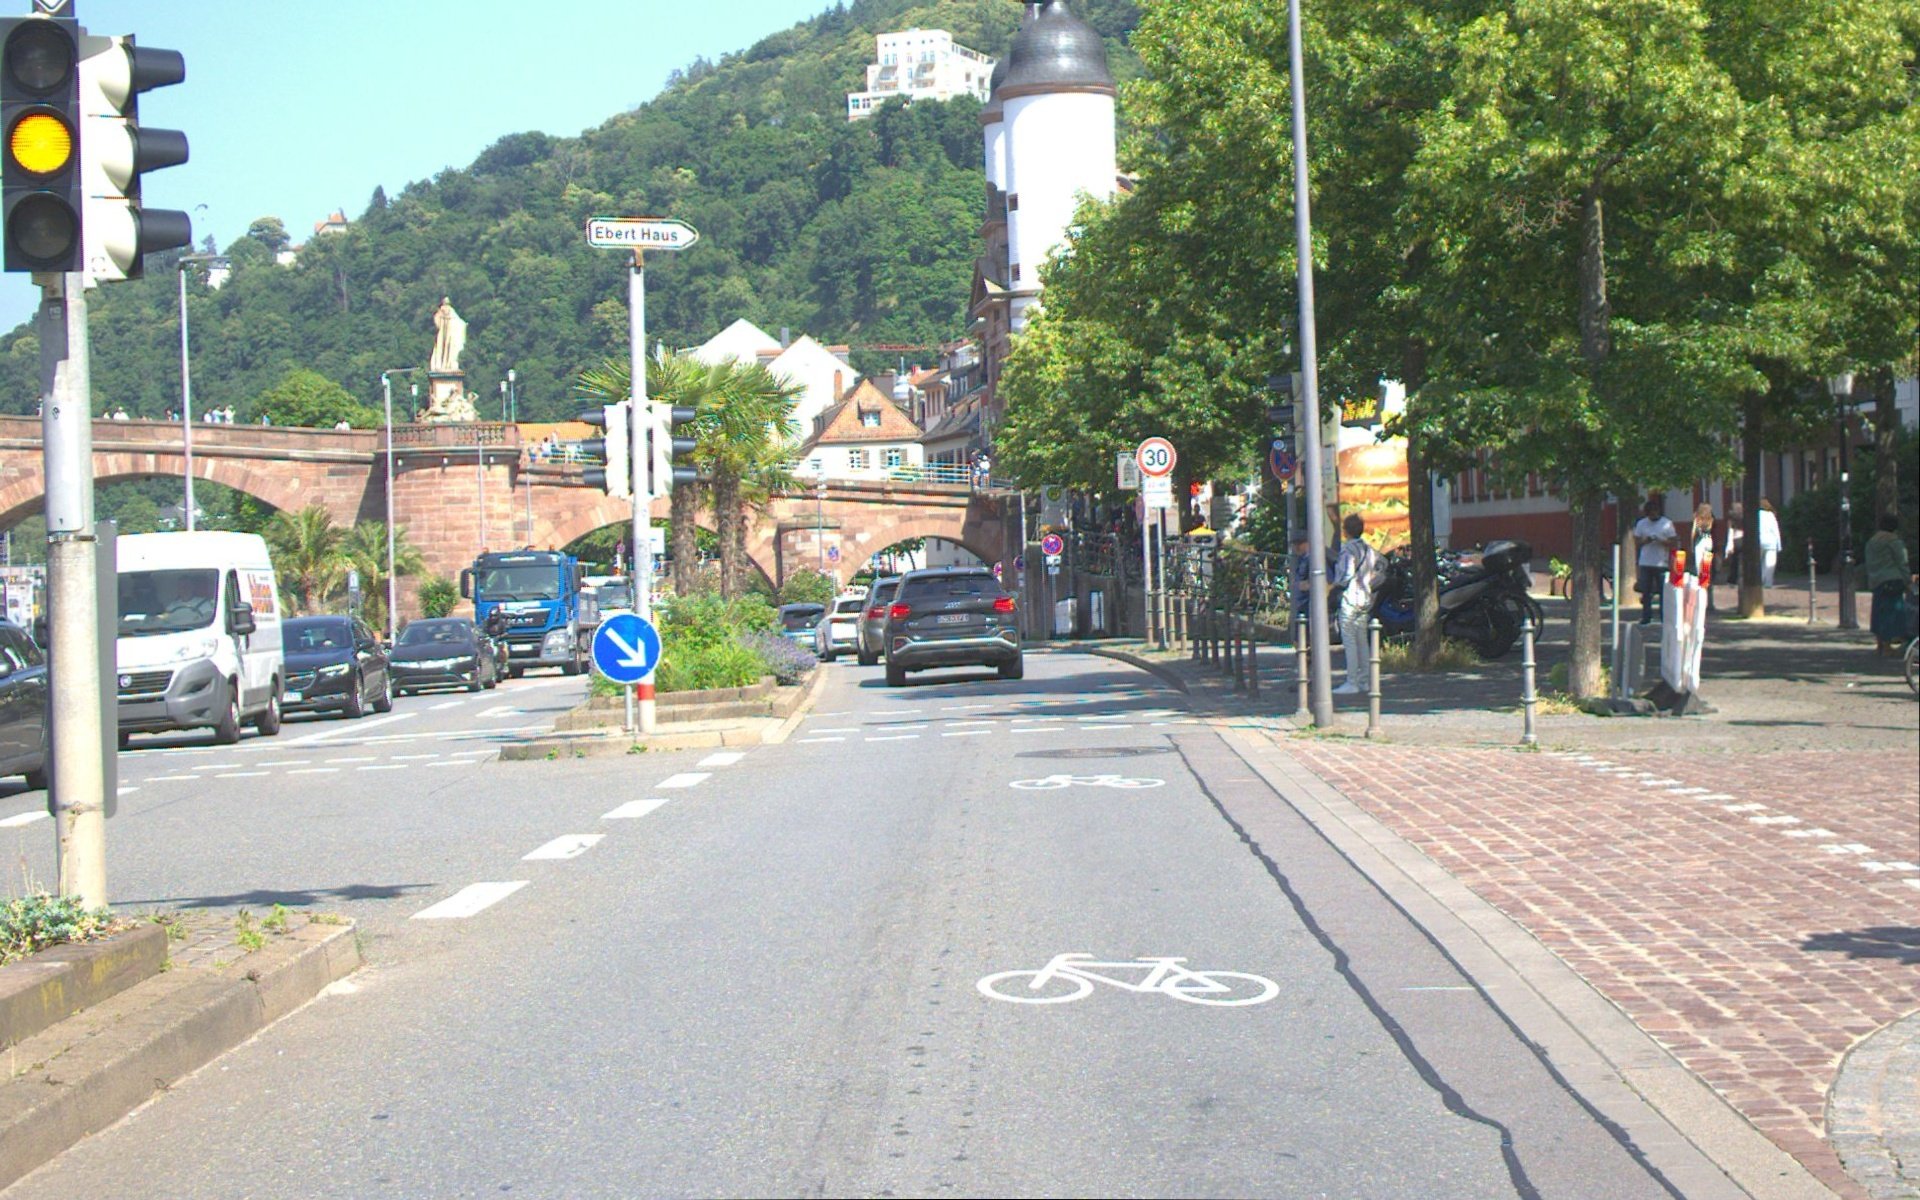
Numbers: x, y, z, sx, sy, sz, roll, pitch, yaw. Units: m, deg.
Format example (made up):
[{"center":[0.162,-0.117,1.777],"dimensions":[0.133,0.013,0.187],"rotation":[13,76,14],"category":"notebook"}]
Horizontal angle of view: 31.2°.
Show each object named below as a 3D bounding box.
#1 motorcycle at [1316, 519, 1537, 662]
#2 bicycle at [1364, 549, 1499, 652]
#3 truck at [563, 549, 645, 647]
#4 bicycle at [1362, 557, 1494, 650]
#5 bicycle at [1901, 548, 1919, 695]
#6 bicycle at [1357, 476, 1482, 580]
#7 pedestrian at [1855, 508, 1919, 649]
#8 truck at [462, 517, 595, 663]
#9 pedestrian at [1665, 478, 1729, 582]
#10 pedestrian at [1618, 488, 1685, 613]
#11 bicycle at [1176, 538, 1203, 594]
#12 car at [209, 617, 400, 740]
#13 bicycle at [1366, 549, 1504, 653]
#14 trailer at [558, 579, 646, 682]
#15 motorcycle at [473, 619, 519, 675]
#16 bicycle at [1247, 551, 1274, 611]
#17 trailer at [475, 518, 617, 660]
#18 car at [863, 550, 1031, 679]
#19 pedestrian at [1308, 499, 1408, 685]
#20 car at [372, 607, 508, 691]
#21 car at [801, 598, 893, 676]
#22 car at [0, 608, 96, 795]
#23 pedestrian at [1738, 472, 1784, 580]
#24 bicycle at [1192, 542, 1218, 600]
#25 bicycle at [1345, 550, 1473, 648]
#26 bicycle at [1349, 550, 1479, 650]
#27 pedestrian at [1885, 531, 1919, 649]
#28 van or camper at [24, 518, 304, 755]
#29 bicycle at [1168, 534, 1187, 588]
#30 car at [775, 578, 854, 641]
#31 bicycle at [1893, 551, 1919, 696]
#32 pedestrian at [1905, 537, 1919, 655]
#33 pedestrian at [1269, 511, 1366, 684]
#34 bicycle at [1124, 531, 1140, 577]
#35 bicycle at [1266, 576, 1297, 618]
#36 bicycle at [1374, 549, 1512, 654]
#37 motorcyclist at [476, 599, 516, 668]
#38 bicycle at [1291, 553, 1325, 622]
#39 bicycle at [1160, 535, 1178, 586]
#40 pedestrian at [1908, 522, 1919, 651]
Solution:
[{"center":[5.145,-0.098,38.018],"dimensions":[2.296,1.460,0.763],"rotation":[-3,0,40],"category":"motorcycle"},{"center":[5.521,0.001,40.252],"dimensions":[1.483,1.116,0.294],"rotation":[-3,0,-6],"category":"bicycle"},{"center":[-12.887,-0.081,124.768],"dimensions":[2.657,3.392,5.136],"rotation":[-2,1,-4],"category":"truck"},{"center":[5.601,0.043,41.135],"dimensions":[1.483,1.028,0.294],"rotation":[-3,0,-6],"category":"bicycle"},{"center":[8.771,0.178,28.169],"dimensions":[1.999,1.194,0.521],"rotation":[1,1,11],"category":"bicycle"},{"center":[6.859,-1.073,51.300],"dimensions":[1.774,1.478,0.270],"rotation":[-2,0,-3],"category":"bicycle"},{"center":[10.083,-0.238,37.306],"dimensions":[0.459,1.512,0.690],"rotation":[-1,1,-9],"category":"pedestrian"},{"center":[-10.523,-0.270,84.235],"dimensions":[2.657,3.392,4.450],"rotation":[-2,1,-1],"category":"truck"},{"center":[13.892,-1.313,64.826],"dimensions":[0.968,1.908,0.747],"rotation":[-2,0,0],"category":"pedestrian"},{"center":[9.330,-0.672,46.403],"dimensions":[0.707,1.647,0.707],"rotation":[-2,1,-1],"category":"pedestrian"},{"center":[4.614,-0.677,69.071],"dimensions":[0.275,1.092,1.489],"rotation":[-7,1,-2],"category":"bicycle"},{"center":[-9.229,1.068,48.757],"dimensions":[1.818,1.451,4.929],"rotation":[-4,1,-2],"category":"car"},{"center":[5.491,0.005,39.753],"dimensions":[1.483,1.116,0.378],"rotation":[-3,0,-6],"category":"bicycle"},{"center":[-12.756,1.017,123.136],"dimensions":[2.657,3.392,10.170],"rotation":[-2,1,-4],"category":"trailer"},{"center":[-10.117,1.016,75.012],"dimensions":[0.757,1.128,2.456],"rotation":[-2,1,-3],"category":"motorcycle"},{"center":[5.054,-0.324,57.894],"dimensions":[0.250,0.997,1.489],"rotation":[0,0,-3],"category":"bicycle"},{"center":[-10.622,-0.321,88.891],"dimensions":[2.657,3.392,8.827],"rotation":[-2,1,-1],"category":"trailer"},{"center":[-0.227,0.168,46.064],"dimensions":[1.926,1.548,4.832],"rotation":[-3,1,-3],"category":"car"},{"center":[3.913,-0.084,33.853],"dimensions":[0.693,1.765,0.764],"rotation":[-4,1,-9],"category":"pedestrian"},{"center":[-9.844,0.928,65.339],"dimensions":[1.952,1.408,4.219],"rotation":[-4,-1,-2],"category":"car"},{"center":[-2.555,0.818,78.588],"dimensions":[1.993,1.548,4.832],"rotation":[-2,1,-1],"category":"car"},{"center":[-8.460,0.867,27.556],"dimensions":[1.952,1.404,4.570],"rotation":[-4,1,-2],"category":"car"},{"center":[15.087,-1.394,64.780],"dimensions":[0.634,2.007,0.644],"rotation":[-2,1,-2],"category":"pedestrian"},{"center":[4.667,-0.556,65.501],"dimensions":[0.345,1.092,1.489],"rotation":[0,0,-2],"category":"bicycle"},{"center":[5.505,-0.010,42.160],"dimensions":[1.483,1.116,0.251],"rotation":[-3,0,-6],"category":"bicycle"},{"center":[5.464,-0.002,41.373],"dimensions":[1.483,1.116,0.251],"rotation":[-3,0,-6],"category":"bicycle"},{"center":[10.574,-0.112,37.619],"dimensions":[0.625,1.277,0.754],"rotation":[0,0,-9],"category":"pedestrian"},{"center":[-9.119,0.396,39.858],"dimensions":[1.993,2.441,5.495],"rotation":[-4,0,-2],"category":"van or camper"},{"center":[4.515,-0.808,71.474],"dimensions":[0.250,1.092,1.489],"rotation":[0,0,-2],"category":"bicycle"},{"center":[-3.965,0.243,94.378],"dimensions":[1.993,1.548,4.832],"rotation":[-2,1,-1],"category":"car"},{"center":[8.847,0.188,28.673],"dimensions":[2.013,1.194,0.521],"rotation":[0,1,11],"category":"bicycle"},{"center":[10.464,-0.053,36.218],"dimensions":[0.693,1.248,0.764],"rotation":[-2,1,-9],"category":"pedestrian"},{"center":[3.579,-0.029,34.469],"dimensions":[0.693,1.671,0.764],"rotation":[-4,1,-9],"category":"pedestrian"},{"center":[4.204,-1.122,84.108],"dimensions":[0.356,1.092,1.488],"rotation":[0,0,4],"category":"bicycle"},{"center":[5.128,-0.055,54.851],"dimensions":[0.250,0.661,1.469],"rotation":[-2,1,-3],"category":"bicycle"},{"center":[5.530,0.011,39.371],"dimensions":[1.484,1.116,0.294],"rotation":[-3,0,-3],"category":"bicycle"},{"center":[-10.120,0.733,75.023],"dimensions":[0.736,1.465,1.011],"rotation":[-2,1,-3],"category":"motorcyclist"},{"center":[5.225,-0.192,51.708],"dimensions":[0.250,1.007,1.489],"rotation":[-2,0,-3],"category":"bicycle"},{"center":[4.460,-0.842,73.401],"dimensions":[0.250,1.092,1.489],"rotation":[0,0,-2],"category":"bicycle"},{"center":[10.604,-0.147,36.967],"dimensions":[0.625,1.377,0.542],"rotation":[0,0,-9],"category":"pedestrian"}]
